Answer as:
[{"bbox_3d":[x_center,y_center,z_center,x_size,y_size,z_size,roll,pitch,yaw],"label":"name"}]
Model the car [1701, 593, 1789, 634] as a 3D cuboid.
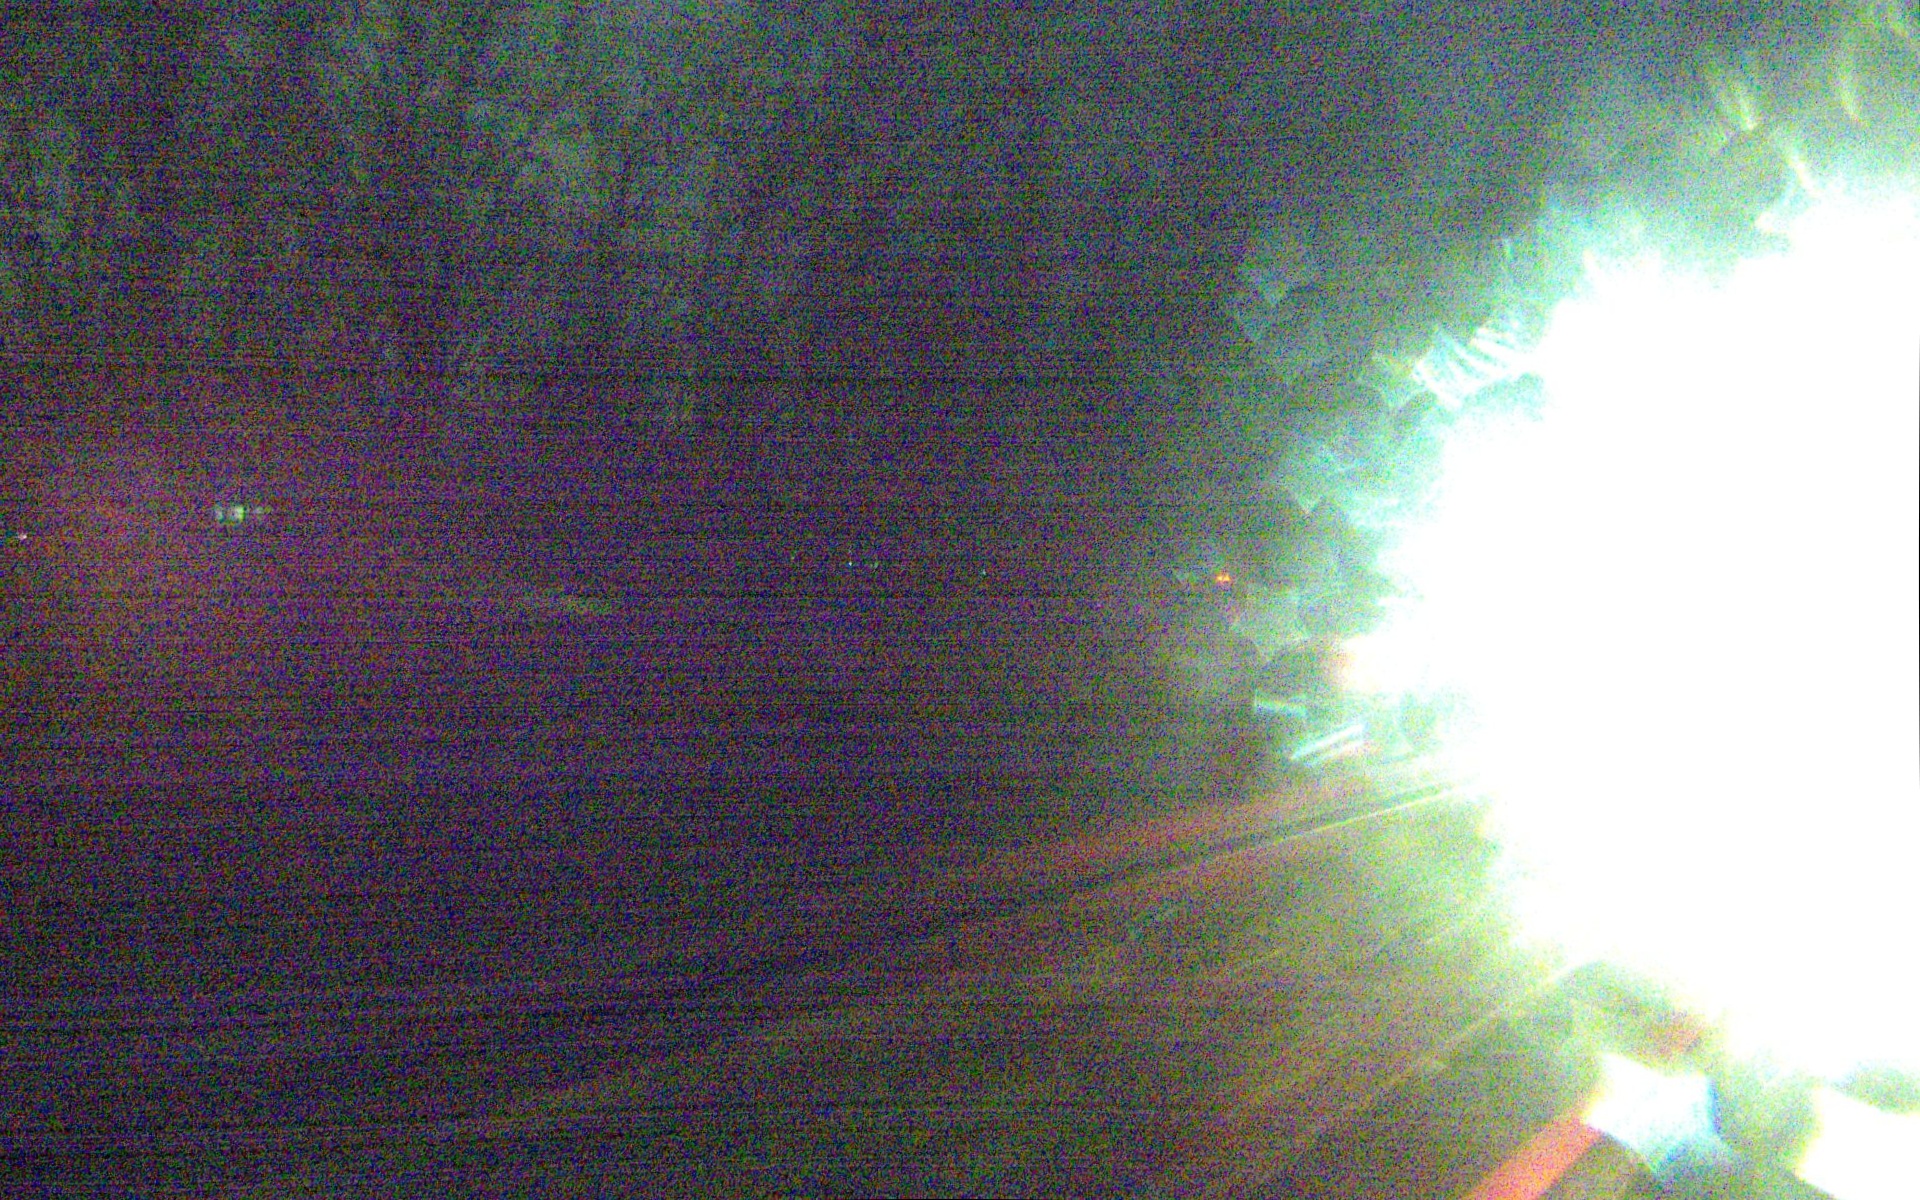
[{"bbox_3d":[30.832,0.482,39.865,1.830,1.467,3.844,0,1,24],"label":"car"}]
